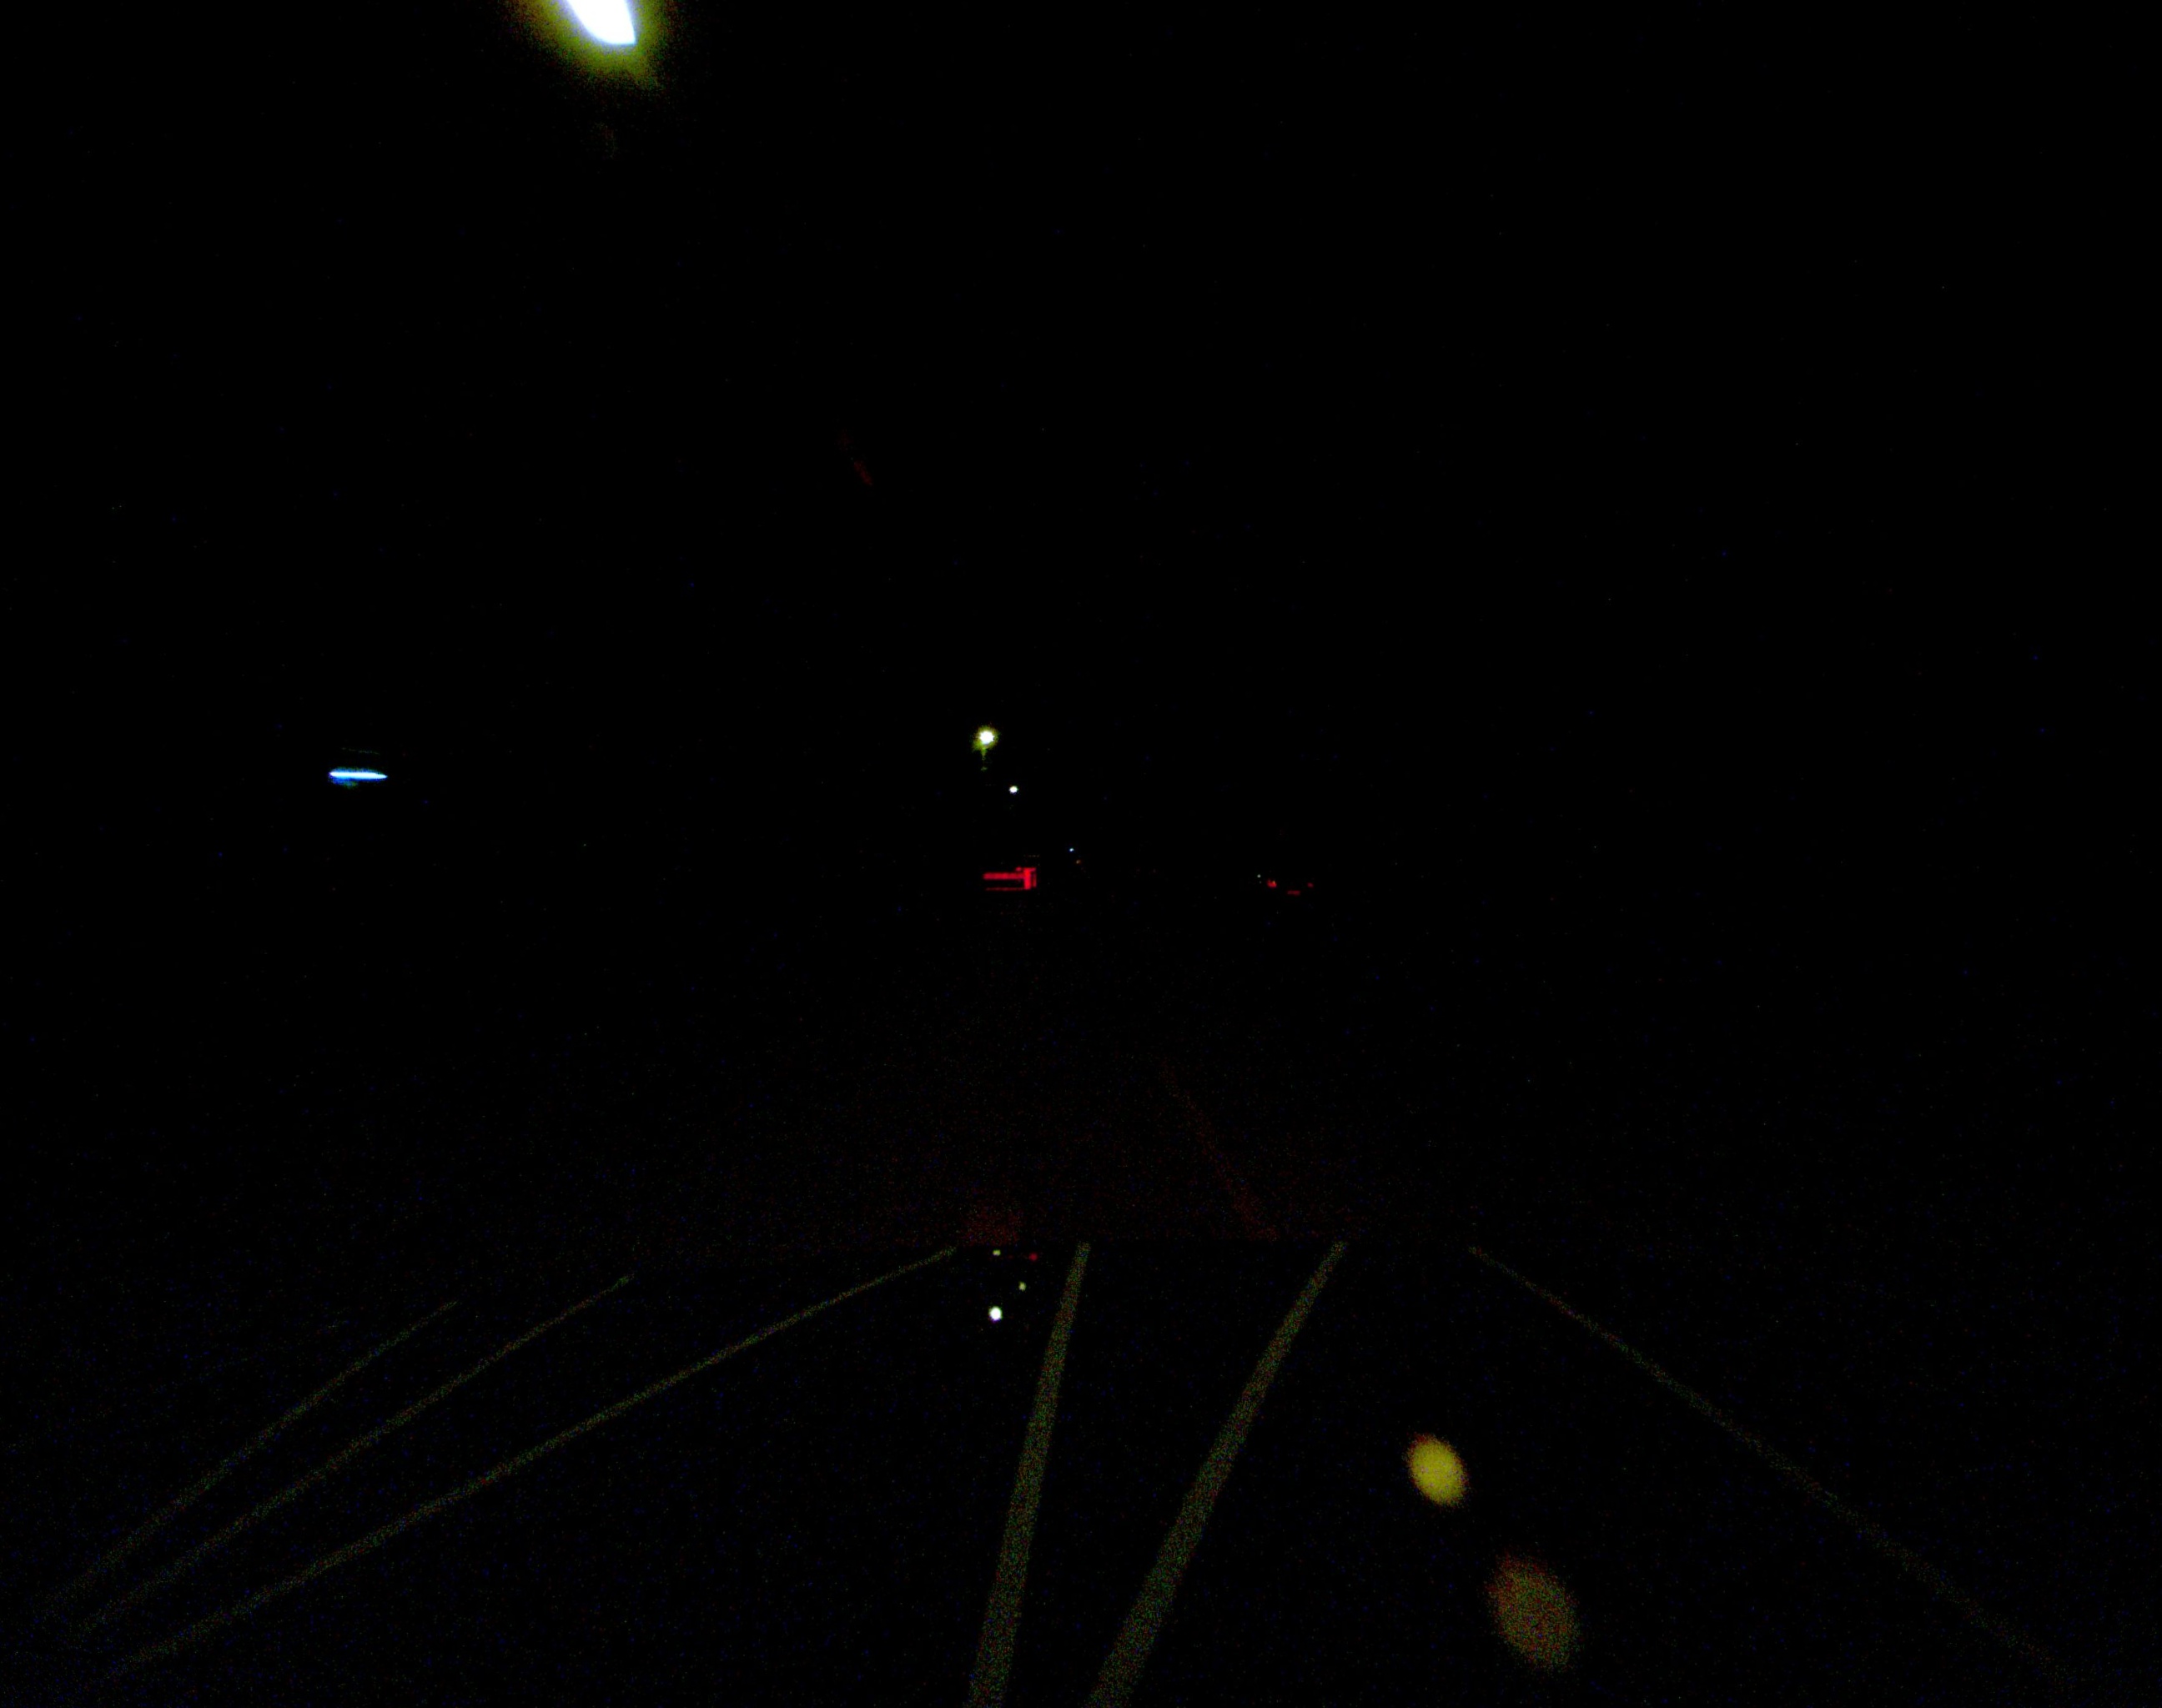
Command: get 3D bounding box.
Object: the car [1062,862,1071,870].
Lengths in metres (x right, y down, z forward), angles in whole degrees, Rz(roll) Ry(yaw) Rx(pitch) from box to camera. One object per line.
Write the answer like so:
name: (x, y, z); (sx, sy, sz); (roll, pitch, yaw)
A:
car: (-3.125, 2.498, 164.125); (1.863, 1.630, 3.999); (1, -1, -4)

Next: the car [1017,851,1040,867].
car: (-10.877, 1.052, 156.891); (2.393, 3.224, 7.216); (0, 0, -25)

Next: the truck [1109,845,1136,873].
truck: (5.019, 0.633, 92.869); (2.551, 3.261, 7.310); (0, 0, -3)

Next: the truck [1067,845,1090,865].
truck: (-0.451, 0.193, 125.747); (2.381, 3.224, 7.224); (0, 0, -11)

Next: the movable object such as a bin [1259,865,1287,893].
movable object such as a bin: (10.281, 1.316, 40.638); (1.167, 1.487, 1.065); (1, 0, -4)

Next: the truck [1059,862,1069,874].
truck: (-3.860, 3.066, 172.821); (2.138, 2.597, 7.097); (1, -1, -3)

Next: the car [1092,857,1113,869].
car: (3.000, 1.263, 108.406); (2.001, 1.761, 4.687); (0, 0, -12)

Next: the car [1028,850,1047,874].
car: (-4.767, 0.864, 84.169); (2.026, 2.511, 6.050); (-1, 0, -2)

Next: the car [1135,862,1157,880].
car: (5.692, 1.489, 67.348); (1.759, 1.517, 4.323); (0, 0, 2)

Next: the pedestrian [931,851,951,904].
pedestrian: (-4.972, 0.812, 26.966); (0.572, 1.842, 0.820); (0, 0, -1)

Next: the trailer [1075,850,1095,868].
trailer: (0.640, 0.759, 119.219); (2.213, 2.779, 4.611); (0, 0, -13)

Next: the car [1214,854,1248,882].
car: (13.039, 1.185, 66.244); (2.212, 2.307, 4.625); (1, 0, 2)

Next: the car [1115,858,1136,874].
car: (5.019, 1.319, 85.980); (1.834, 1.806, 4.837); (1, 0, -3)

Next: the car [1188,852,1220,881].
car: (10.539, 1.078, 65.432); (1.998, 2.307, 4.967); (2, 0, 2)

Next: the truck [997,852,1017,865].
truck: (-16.388, 1.038, 168.770); (2.003, 2.767, 7.228); (1, -1, -26)

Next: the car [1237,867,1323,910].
car: (7.128, 1.184, 27.654); (1.916, 1.395, 4.337); (1, 0, -1)
